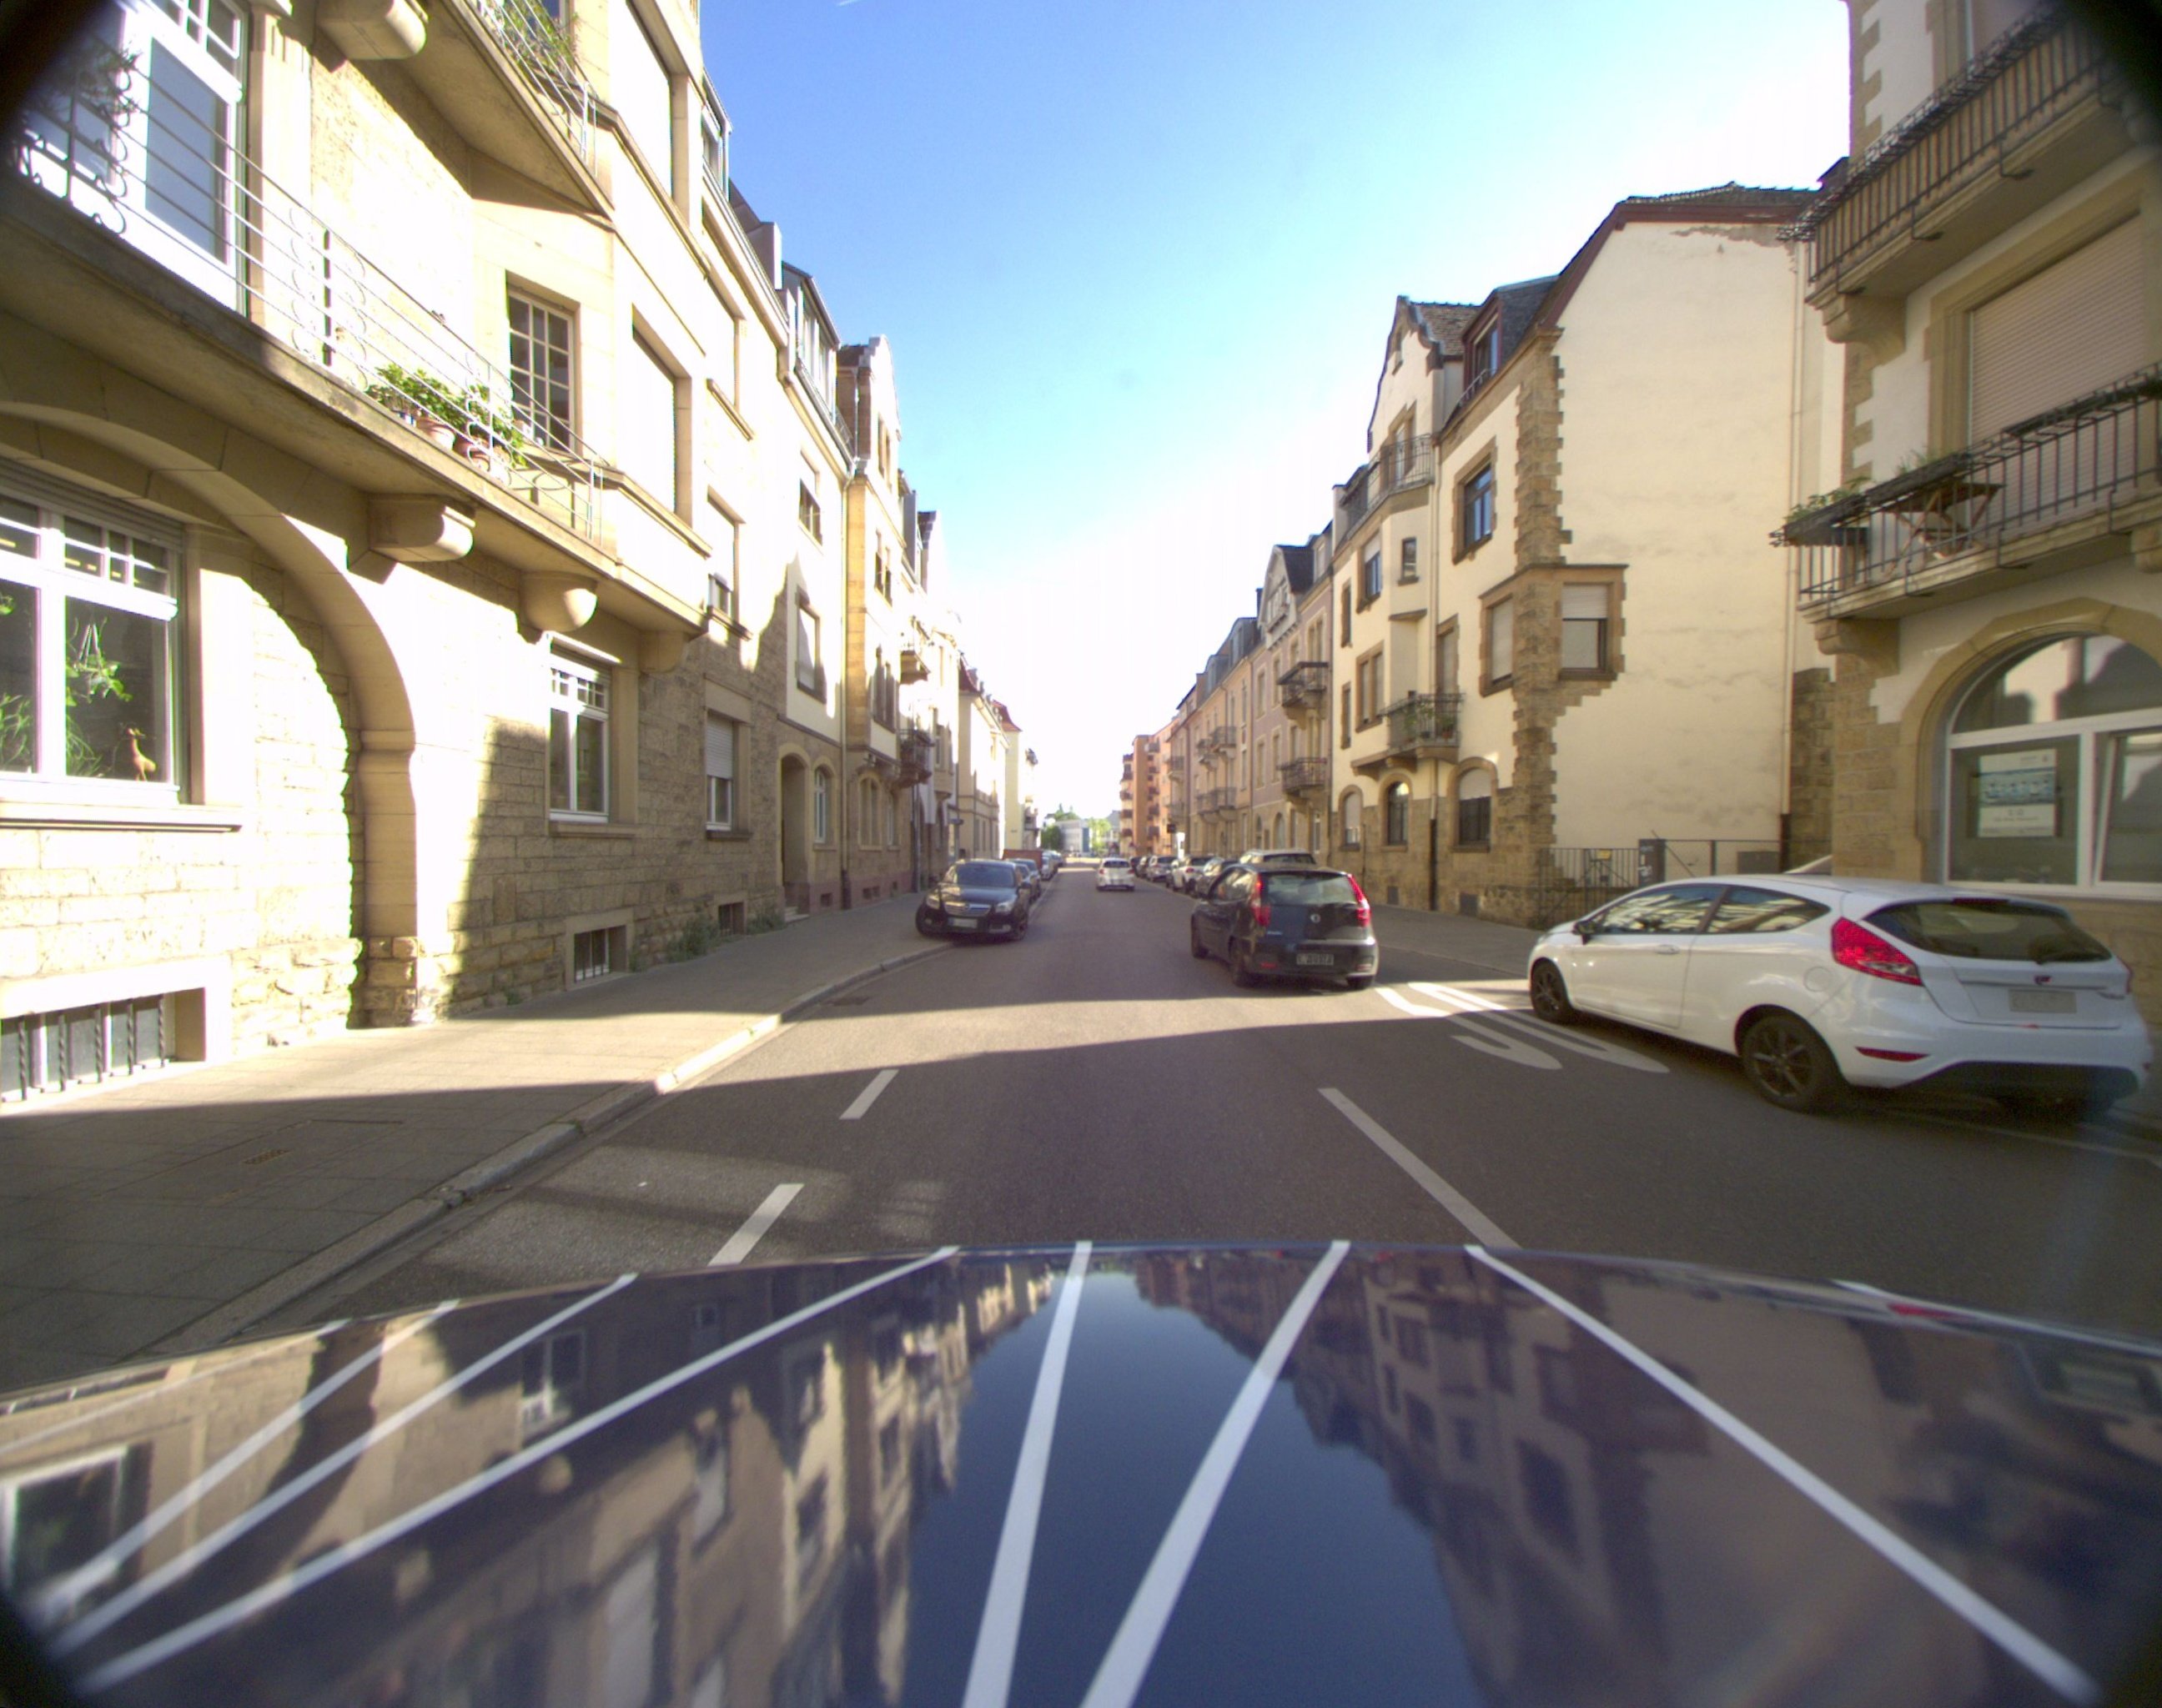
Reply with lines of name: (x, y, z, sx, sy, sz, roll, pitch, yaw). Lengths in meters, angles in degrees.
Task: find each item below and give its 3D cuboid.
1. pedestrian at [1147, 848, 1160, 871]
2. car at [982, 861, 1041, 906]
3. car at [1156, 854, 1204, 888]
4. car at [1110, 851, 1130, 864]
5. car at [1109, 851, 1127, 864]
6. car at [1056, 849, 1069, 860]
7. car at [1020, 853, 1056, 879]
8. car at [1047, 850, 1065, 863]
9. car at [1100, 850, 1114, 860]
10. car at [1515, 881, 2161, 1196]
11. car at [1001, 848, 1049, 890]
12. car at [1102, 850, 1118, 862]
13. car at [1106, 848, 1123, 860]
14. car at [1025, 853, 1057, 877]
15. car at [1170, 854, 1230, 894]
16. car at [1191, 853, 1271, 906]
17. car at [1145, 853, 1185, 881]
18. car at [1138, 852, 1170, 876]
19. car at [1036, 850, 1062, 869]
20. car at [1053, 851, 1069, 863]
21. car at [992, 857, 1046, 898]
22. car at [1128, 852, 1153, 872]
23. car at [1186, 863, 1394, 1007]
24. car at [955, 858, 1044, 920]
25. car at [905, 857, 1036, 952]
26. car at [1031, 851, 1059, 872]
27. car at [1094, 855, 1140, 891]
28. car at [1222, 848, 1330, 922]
pedestrian: (6.329, 0.466, 66.308, 0.952, 2.002, 1.066, -2, 1, -3)
car: (-2.237, 0.925, 25.380, 1.661, 1.272, 3.729, 1, 1, -1)
car: (4.852, 0.814, 37.808, 1.857, 1.491, 4.318, -2, 1, 1)
car: (4.668, 0.402, 91.393, 2.005, 1.500, 4.320, 1, 1, -1)
car: (4.618, 0.385, 96.208, 2.005, 1.500, 4.320, 1, 1, -1)
car: (-2.946, 0.061, 123.337, 2.005, 1.722, 4.320, 1, 1, -1)
car: (-2.656, 0.714, 47.869, 2.005, 1.500, 4.320, 1, 1, -1)
car: (-2.849, 0.261, 88.980, 2.005, 1.500, 4.320, 1, 1, -1)
car: (3.954, 0.179, 116.761, 2.005, 1.500, 4.320, 1, 1, -1)
car: (5.109, 1.014, 5.701, 1.656, 1.449, 3.643, 2, 0, 2)
car: (-2.562, 0.648, 35.742, 2.005, 1.828, 4.320, 1, 1, -1)
car: (4.107, 0.281, 107.253, 2.005, 1.500, 4.320, 1, 1, -1)
car: (4.520, -0.004, 101.959, 2.005, 1.500, 4.320, 1, 1, -1)
car: (-2.752, 0.734, 52.642, 2.005, 1.500, 4.320, 1, 1, -1)
car: (4.981, 0.792, 32.368, 1.890, 1.500, 4.320, -2, 1, 1)
car: (5.120, 0.818, 26.547, 1.890, 1.500, 4.320, -4, 1, 1)
car: (5.017, 0.730, 45.834, 1.890, 1.500, 4.320, -2, 1, 1)
car: (4.988, 0.665, 52.352, 1.809, 1.500, 4.003, -2, 1, 1)
car: (-2.676, 0.448, 64.501, 2.005, 1.500, 4.320, 1, 1, -1)
car: (-2.588, 0.424, 99.954, 2.005, 1.500, 4.320, 1, 1, -1)
car: (-2.388, 0.889, 30.122, 1.824, 1.415, 4.320, 1, 1, -1)
car: (4.889, 0.637, 62.975, 1.793, 1.500, 4.320, -2, 1, 1)
car: (2.496, 0.890, 9.964, 1.656, 1.449, 3.642, 0, 1, -1)
car: (-2.100, 0.872, 20.801, 2.005, 1.499, 4.321, 1, 0, -1)
car: (-2.040, 0.881, 15.227, 2.024, 1.500, 4.111, 2, 1, -1)
car: (-2.749, 0.532, 58.667, 2.005, 1.500, 4.320, 1, 1, -1)
car: (1.572, 0.820, 34.574, 1.703, 1.474, 3.533, 1, 0, -4)
car: (5.193, 0.748, 20.811, 1.890, 1.717, 4.211, -2, 1, 1)
